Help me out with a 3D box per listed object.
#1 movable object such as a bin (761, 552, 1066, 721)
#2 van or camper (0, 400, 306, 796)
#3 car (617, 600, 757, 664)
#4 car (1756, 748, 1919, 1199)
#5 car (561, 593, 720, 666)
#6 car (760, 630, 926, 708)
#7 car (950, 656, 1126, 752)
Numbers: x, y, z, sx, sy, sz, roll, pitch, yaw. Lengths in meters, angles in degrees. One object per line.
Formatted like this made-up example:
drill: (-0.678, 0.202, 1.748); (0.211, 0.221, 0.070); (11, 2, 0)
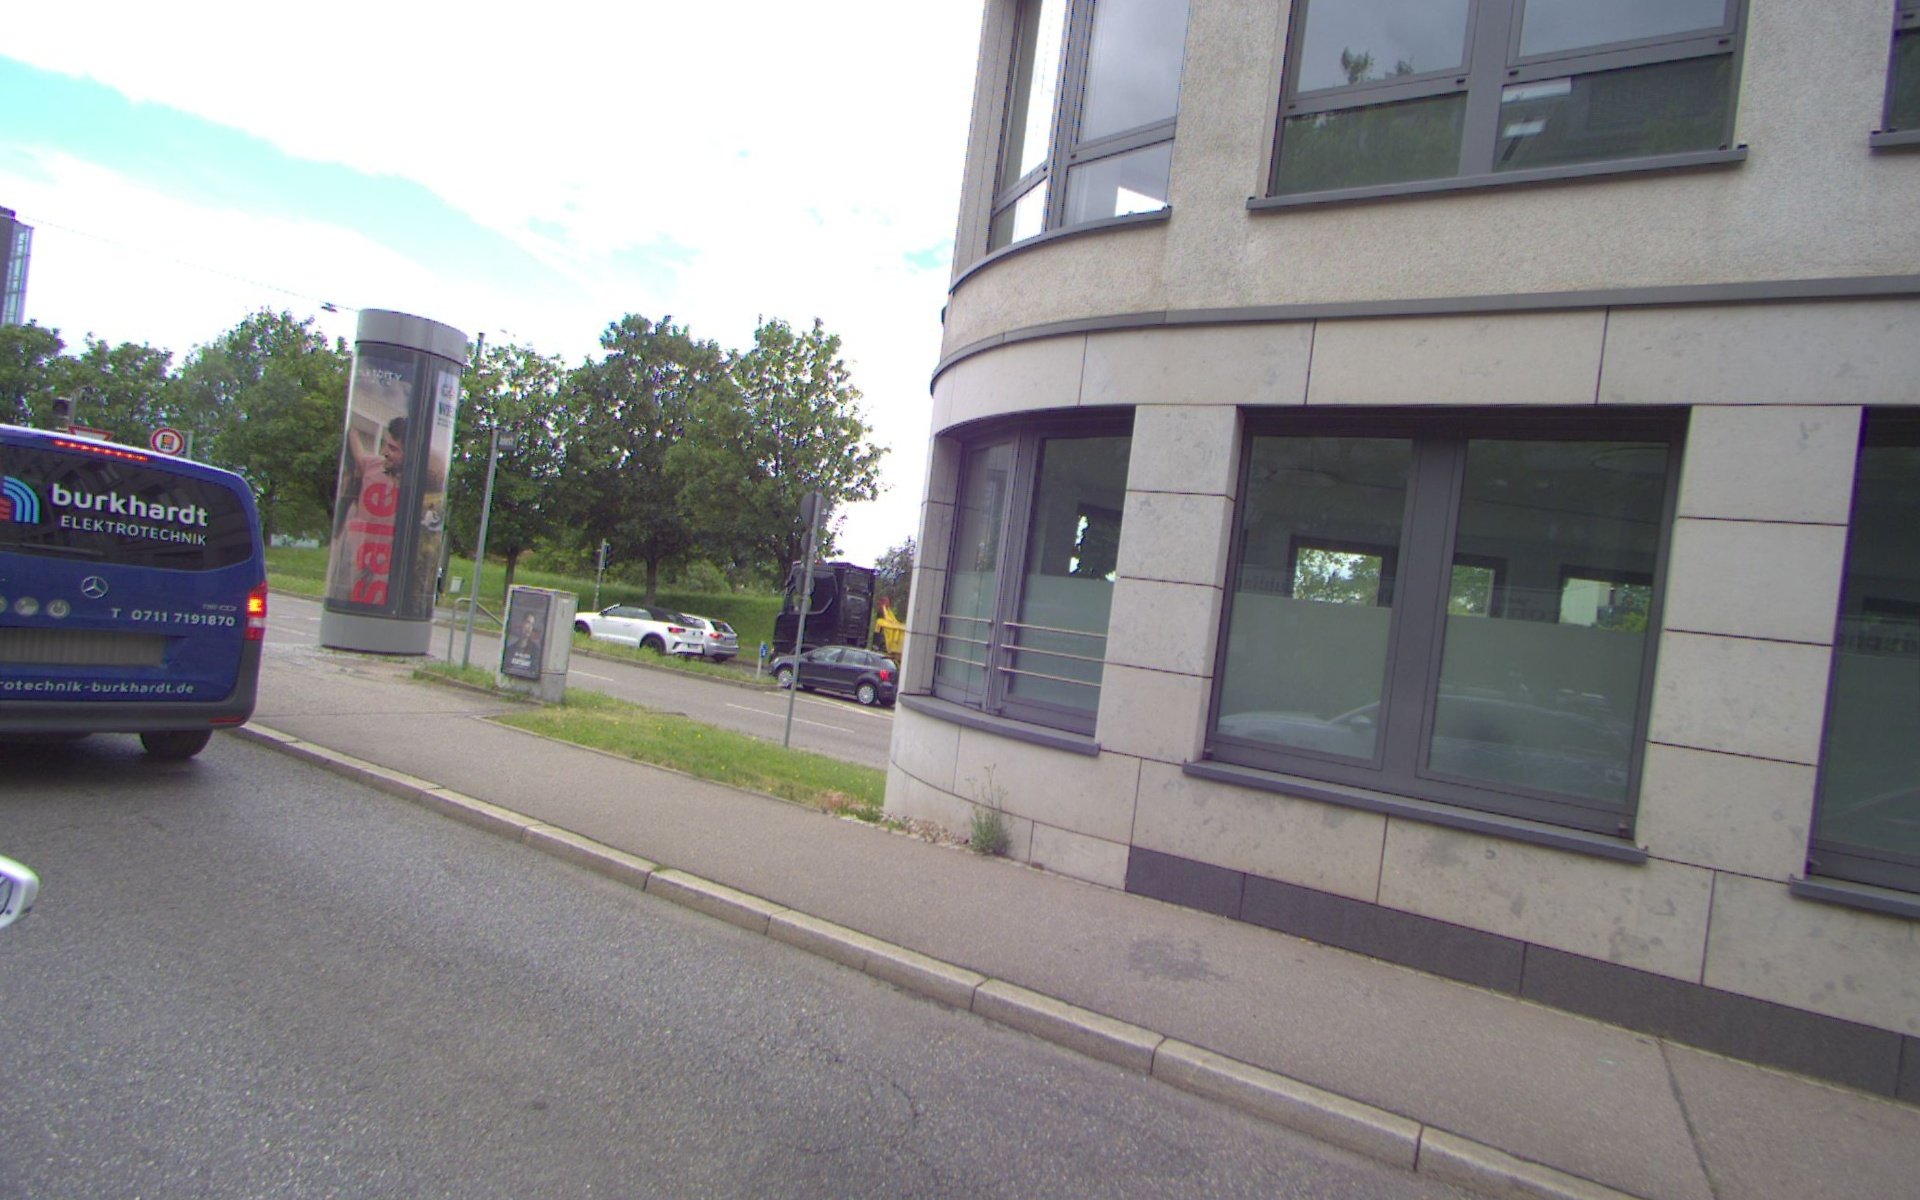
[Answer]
movable object such as a bin: (-1.393, 1.050, 30.569); (8.410, 3.949, 2.870); (7, -1, 18)
van or camper: (-6.589, -0.207, 6.532); (4.949, 1.934, 1.862); (7, -1, 32)
car: (-9.100, 1.079, 33.608); (3.925, 1.469, 2.003); (8, -3, 19)
car: (3.095, 1.187, 0.520); (3.933, 1.509, 1.890); (7, -3, 32)
car: (-9.493, 0.892, 29.980); (3.925, 1.469, 2.003); (8, -3, 19)
car: (-3.194, 1.909, 27.738); (3.925, 1.469, 2.003); (8, -3, 19)
car: (2.022, 2.628, 25.717); (3.925, 1.723, 2.003); (8, -3, 19)
